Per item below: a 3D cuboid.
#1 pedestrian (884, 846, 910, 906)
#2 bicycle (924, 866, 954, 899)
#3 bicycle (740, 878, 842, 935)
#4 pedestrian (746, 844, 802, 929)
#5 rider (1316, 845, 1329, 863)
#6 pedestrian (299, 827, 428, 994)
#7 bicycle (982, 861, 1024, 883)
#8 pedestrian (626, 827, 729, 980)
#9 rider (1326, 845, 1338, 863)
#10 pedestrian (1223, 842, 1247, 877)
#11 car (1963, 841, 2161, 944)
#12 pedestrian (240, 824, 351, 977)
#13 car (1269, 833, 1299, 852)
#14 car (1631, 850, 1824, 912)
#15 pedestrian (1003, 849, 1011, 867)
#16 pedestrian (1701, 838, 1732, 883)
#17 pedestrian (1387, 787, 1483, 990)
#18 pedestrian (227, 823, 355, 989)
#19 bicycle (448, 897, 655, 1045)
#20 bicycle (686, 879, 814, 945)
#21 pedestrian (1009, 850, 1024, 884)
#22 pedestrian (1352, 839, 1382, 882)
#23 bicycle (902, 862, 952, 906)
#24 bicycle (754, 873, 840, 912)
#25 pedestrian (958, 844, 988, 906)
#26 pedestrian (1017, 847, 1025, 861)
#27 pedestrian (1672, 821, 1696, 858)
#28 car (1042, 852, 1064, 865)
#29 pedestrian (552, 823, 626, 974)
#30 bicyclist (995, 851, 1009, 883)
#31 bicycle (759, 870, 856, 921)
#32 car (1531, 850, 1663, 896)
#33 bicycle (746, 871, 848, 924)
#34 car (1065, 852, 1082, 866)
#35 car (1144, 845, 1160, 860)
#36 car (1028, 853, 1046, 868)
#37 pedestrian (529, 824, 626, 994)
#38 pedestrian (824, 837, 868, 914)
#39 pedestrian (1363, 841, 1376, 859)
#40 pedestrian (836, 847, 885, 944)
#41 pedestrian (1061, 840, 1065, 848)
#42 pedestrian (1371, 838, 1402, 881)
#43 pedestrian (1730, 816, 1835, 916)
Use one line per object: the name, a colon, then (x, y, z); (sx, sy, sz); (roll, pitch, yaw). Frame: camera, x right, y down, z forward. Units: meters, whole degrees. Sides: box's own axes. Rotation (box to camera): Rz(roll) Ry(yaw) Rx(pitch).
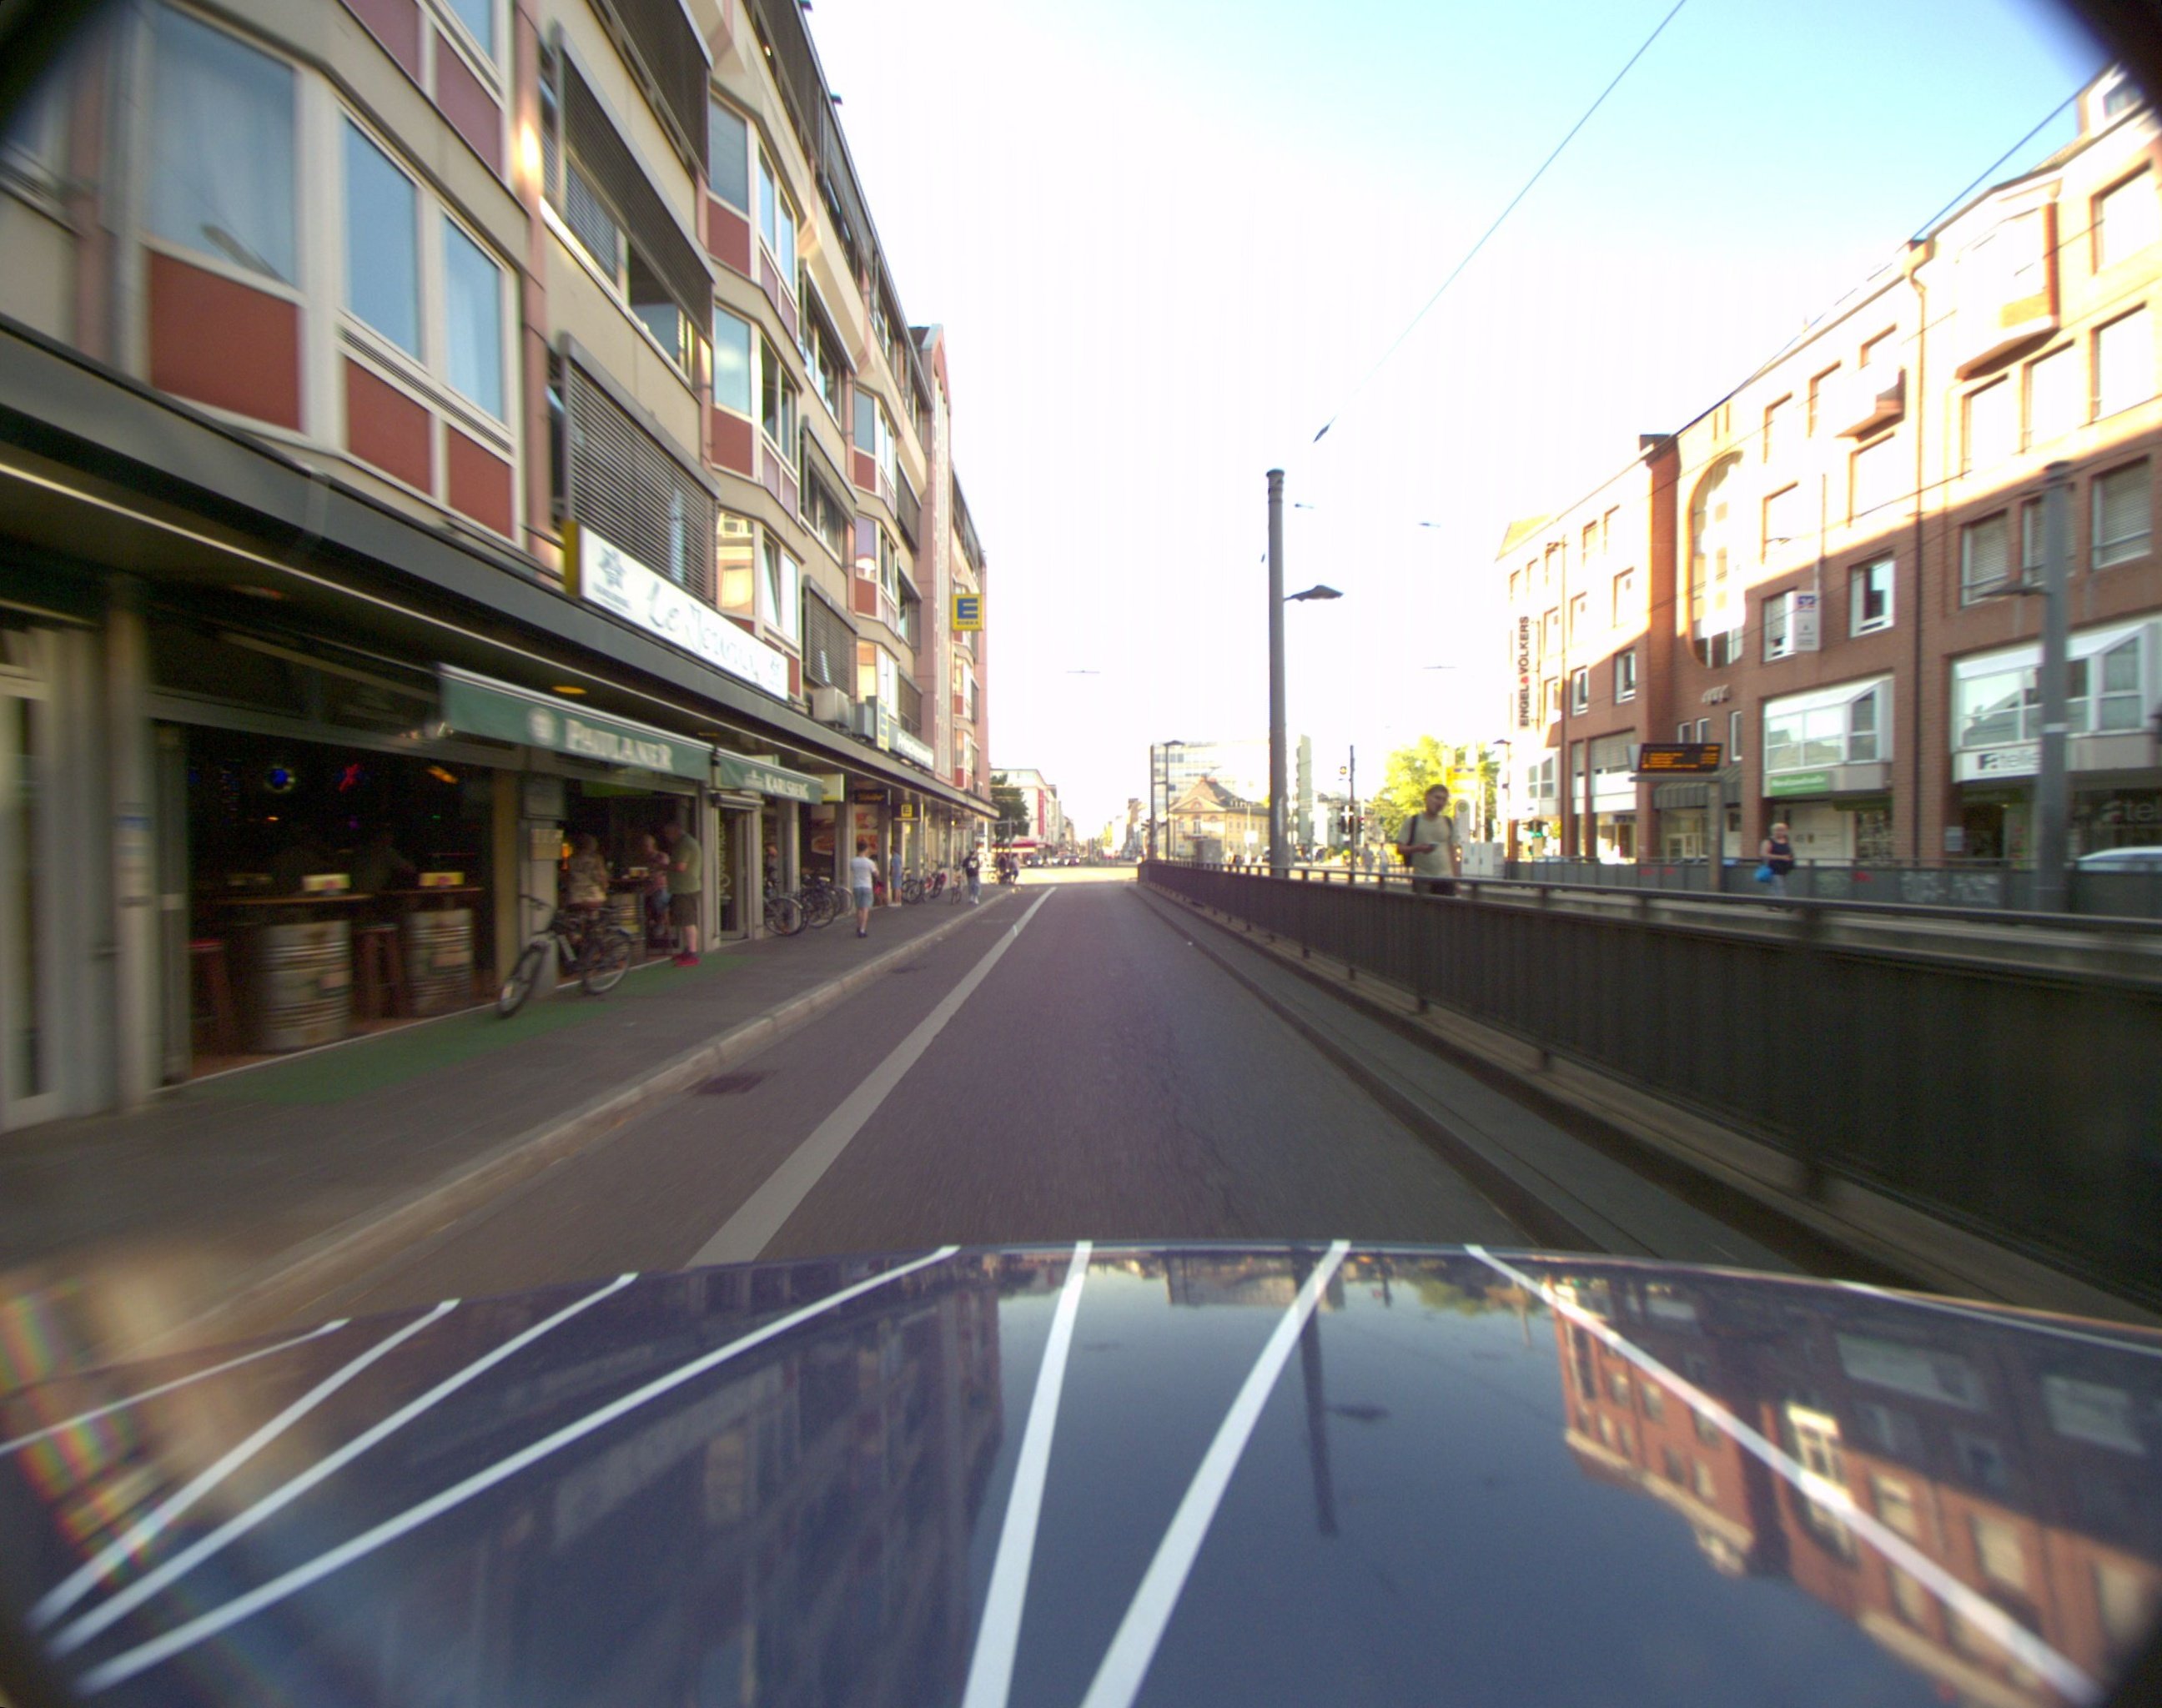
pedestrian: (-4.964, 0.585, 20.475); (0.406, 1.586, 0.462); (3, 1, 28)
bicycle: (-4.684, 0.922, 25.122); (0.678, 0.971, 1.842); (4, 1, -3)
bicycle: (-5.476, 0.976, 14.392); (1.734, 0.968, 0.506); (2, 1, 5)
pedestrian: (-6.168, 0.630, 15.308); (0.779, 1.654, 0.917); (1, 2, -2)
rider: (27.908, 0.015, 87.796); (1.011, 2.002, 1.022); (-2, 2, 34)
pedestrian: (-8.372, 0.627, 8.897); (0.778, 1.856, 0.749); (1, 2, 3)
bicycle: (-4.129, 0.949, 40.301); (2.176, 1.117, 0.768); (-1, 1, -4)
pedestrian: (-5.116, 0.604, 9.685); (0.917, 1.856, 0.779); (1, 2, -3)
rider: (28.727, -0.027, 87.055); (1.011, 2.002, 0.991); (-2, 2, 34)
pedestrian: (8.175, 0.311, 40.387); (0.812, 1.793, 0.859); (-4, 2, -28)
car: (18.158, 0.633, 12.656); (1.914, 1.585, 4.289); (1, 2, 1)
pedestrian: (-9.962, 0.556, 9.656); (0.777, 1.856, 0.688); (2, 2, 18)
car: (34.505, -1.960, 129.114); (2.535, 3.031, 6.386); (3, 3, 37)
car: (18.244, 0.700, 21.744); (1.897, 1.591, 4.196); (0, 0, -1)
pedestrian: (-8.428, 0.435, 86.485); (0.747, 2.002, 1.070); (-4, 1, -13)
pedestrian: (23.982, 0.238, 28.682); (0.613, 1.652, 0.637); (-1, 1, -1)
pedestrian: (3.241, 0.303, 6.994); (0.584, 1.781, 0.606); (-1, 2, -1)
pedestrian: (-9.264, 0.583, 8.938); (0.778, 1.856, 0.687); (1, 2, 3)
bicycle: (-4.890, 1.025, 7.188); (0.659, 1.061, 1.794); (4, 1, 0)
bicycle: (-5.653, 0.988, 13.033); (1.929, 1.054, 0.576); (1, 1, 0)
pedestrian: (-3.248, 0.654, 38.280); (0.637, 1.652, 0.768); (3, 1, -9)
pedestrian: (12.136, 0.279, 32.263); (0.861, 1.757, 0.810); (-3, 1, -7)
bicycle: (-4.492, 0.846, 22.269); (0.800, 1.169, 1.634); (3, 1, 12)
bicycle: (-7.077, 0.959, 18.996); (1.929, 0.933, 0.576); (1, 1, -2)
pedestrian: (-3.229, 0.612, 22.829); (0.806, 1.806, 0.732); (-1, 1, -3)
pedestrian: (-7.378, 0.010, 93.266); (0.860, 1.700, 1.051); (-1, 1, -4)
pedestrian: (27.489, -0.645, 34.644); (0.613, 1.652, 0.637); (-1, 1, -1)
car: (-4.155, 0.652, 111.159); (1.974, 1.664, 4.868); (-2, 0, -16)
pedestrian: (-6.327, 0.547, 9.811); (0.781, 1.856, 0.685); (0, 2, -31)
bicyclist: (-4.185, 0.676, 40.301); (0.637, 1.668, 0.768); (-1, 1, -3)
bicycle: (-6.034, 0.914, 16.821); (1.929, 1.054, 0.576); (1, 1, -2)
car: (18.360, 0.632, 27.306); (1.906, 1.520, 4.119); (0, 0, -1)
bicycle: (-6.019, 0.920, 16.161); (1.929, 1.054, 0.576); (1, 1, -2)
car: (-0.932, 0.620, 96.296); (1.971, 1.664, 4.875); (-2, 0, 0)
car: (11.990, -0.321, 128.257); (2.540, 2.441, 5.424); (-2, 0, 5)
car: (-5.389, 0.748, 93.484); (1.972, 1.664, 4.874); (-2, 0, -2)
pedestrian: (-5.737, 0.594, 8.703); (0.780, 1.856, 0.686); (0, 2, -20)
pedestrian: (-5.697, 0.503, 18.417); (0.734, 1.806, 0.805); (-2, 1, -37)
pedestrian: (32.976, -0.456, 86.849); (1.073, 2.002, 0.989); (-3, 1, 5)
pedestrian: (-3.905, 0.721, 13.480); (0.634, 1.664, 0.771); (0, 2, 0)
pedestrian: (-3.097, -1.742, 130.335); (0.597, 1.434, 0.613); (-1, 1, -11)
pedestrian: (13.022, 0.234, 32.385); (0.860, 1.757, 0.811); (-3, 1, -6)
pedestrian: (12.095, 0.195, 13.140); (0.913, 1.652, 0.967); (-1, 1, -1)
